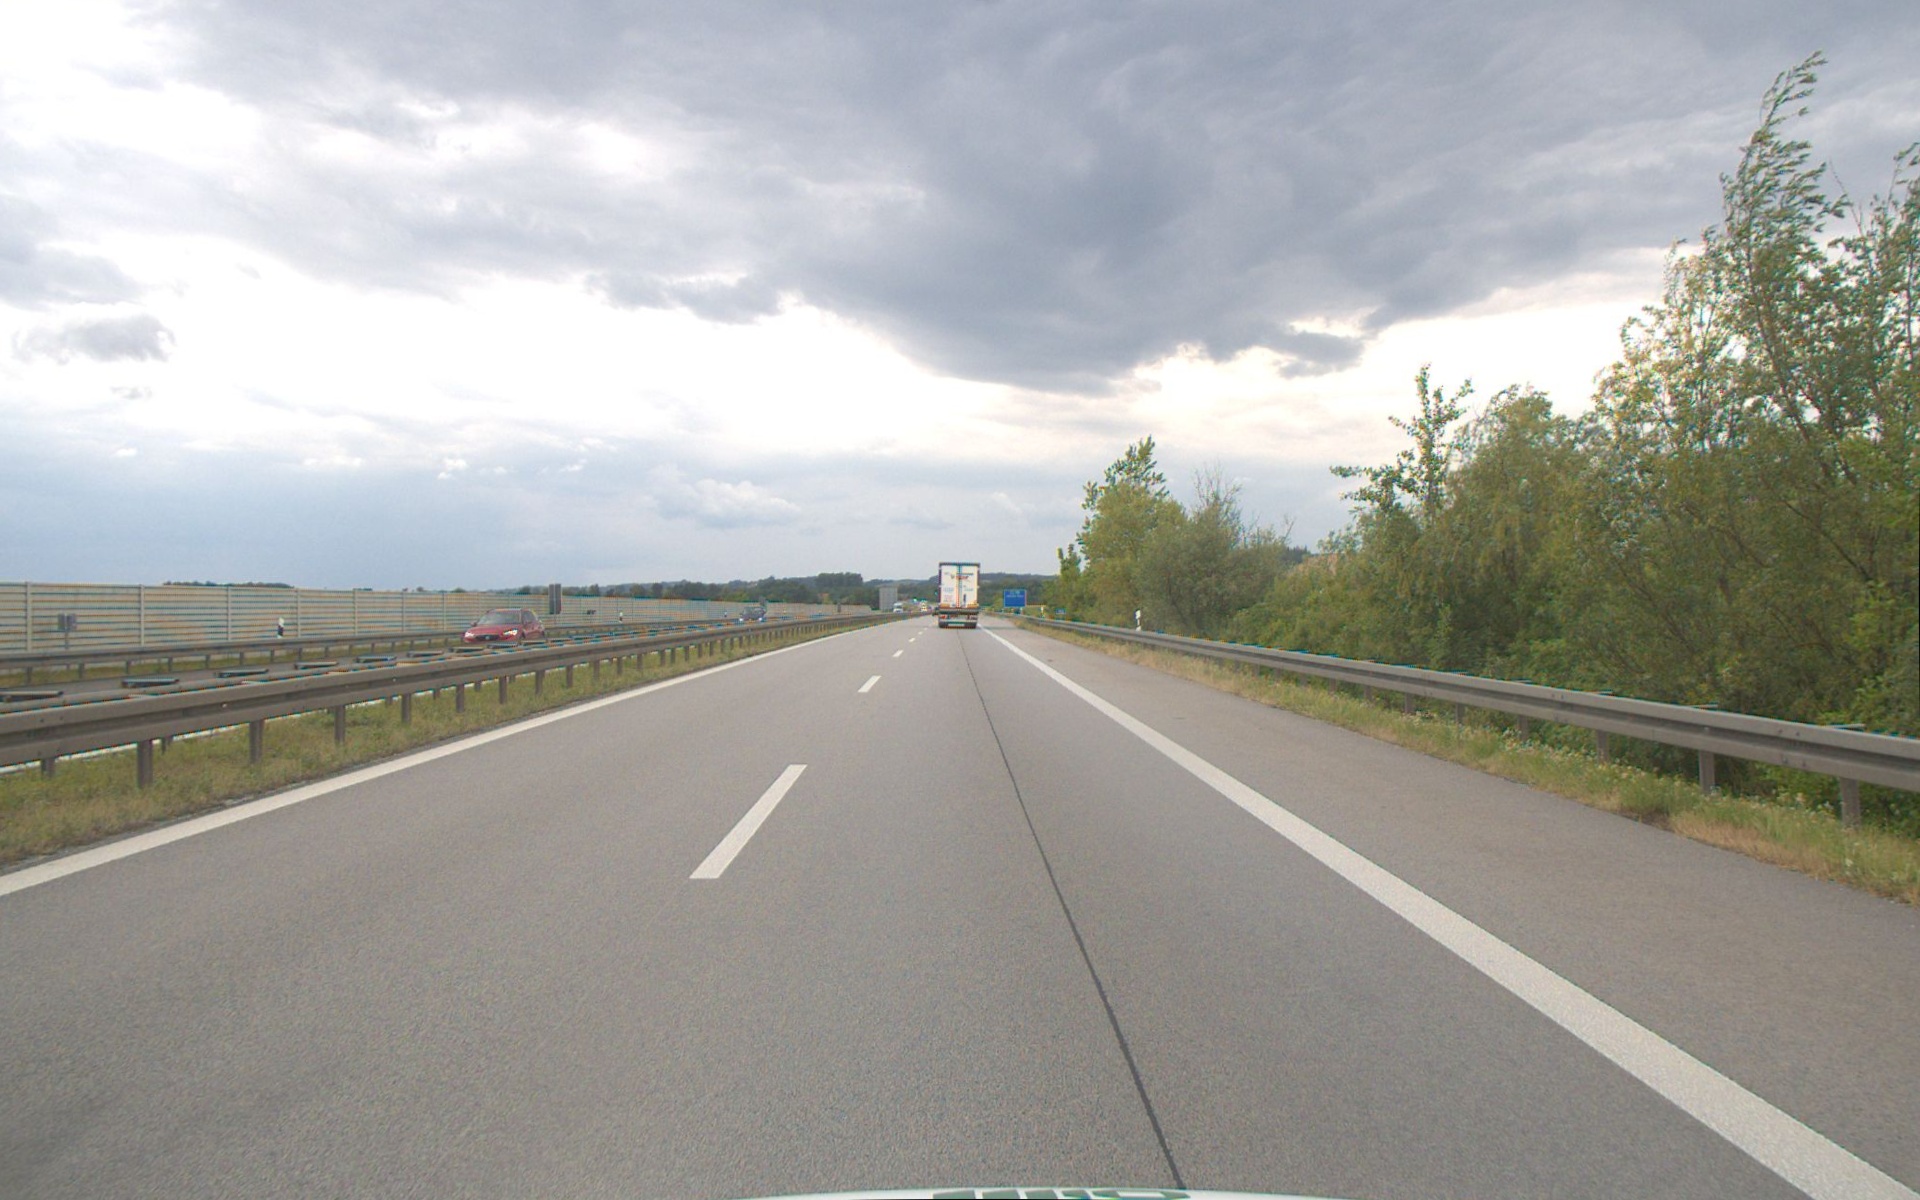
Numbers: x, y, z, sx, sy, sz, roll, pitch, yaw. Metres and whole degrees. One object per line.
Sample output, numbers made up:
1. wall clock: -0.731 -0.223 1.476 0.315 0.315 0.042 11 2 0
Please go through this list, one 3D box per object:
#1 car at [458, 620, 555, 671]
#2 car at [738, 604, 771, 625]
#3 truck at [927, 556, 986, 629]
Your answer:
1. car: -14.427 1.419 52.906 1.781 1.428 4.876 -1 0 -1
2. car: -14.260 0.986 114.871 1.625 1.352 4.608 -4 0 -1
3. truck: -0.324 -0.410 110.155 3.598 4.489 16.337 0 0 -1
